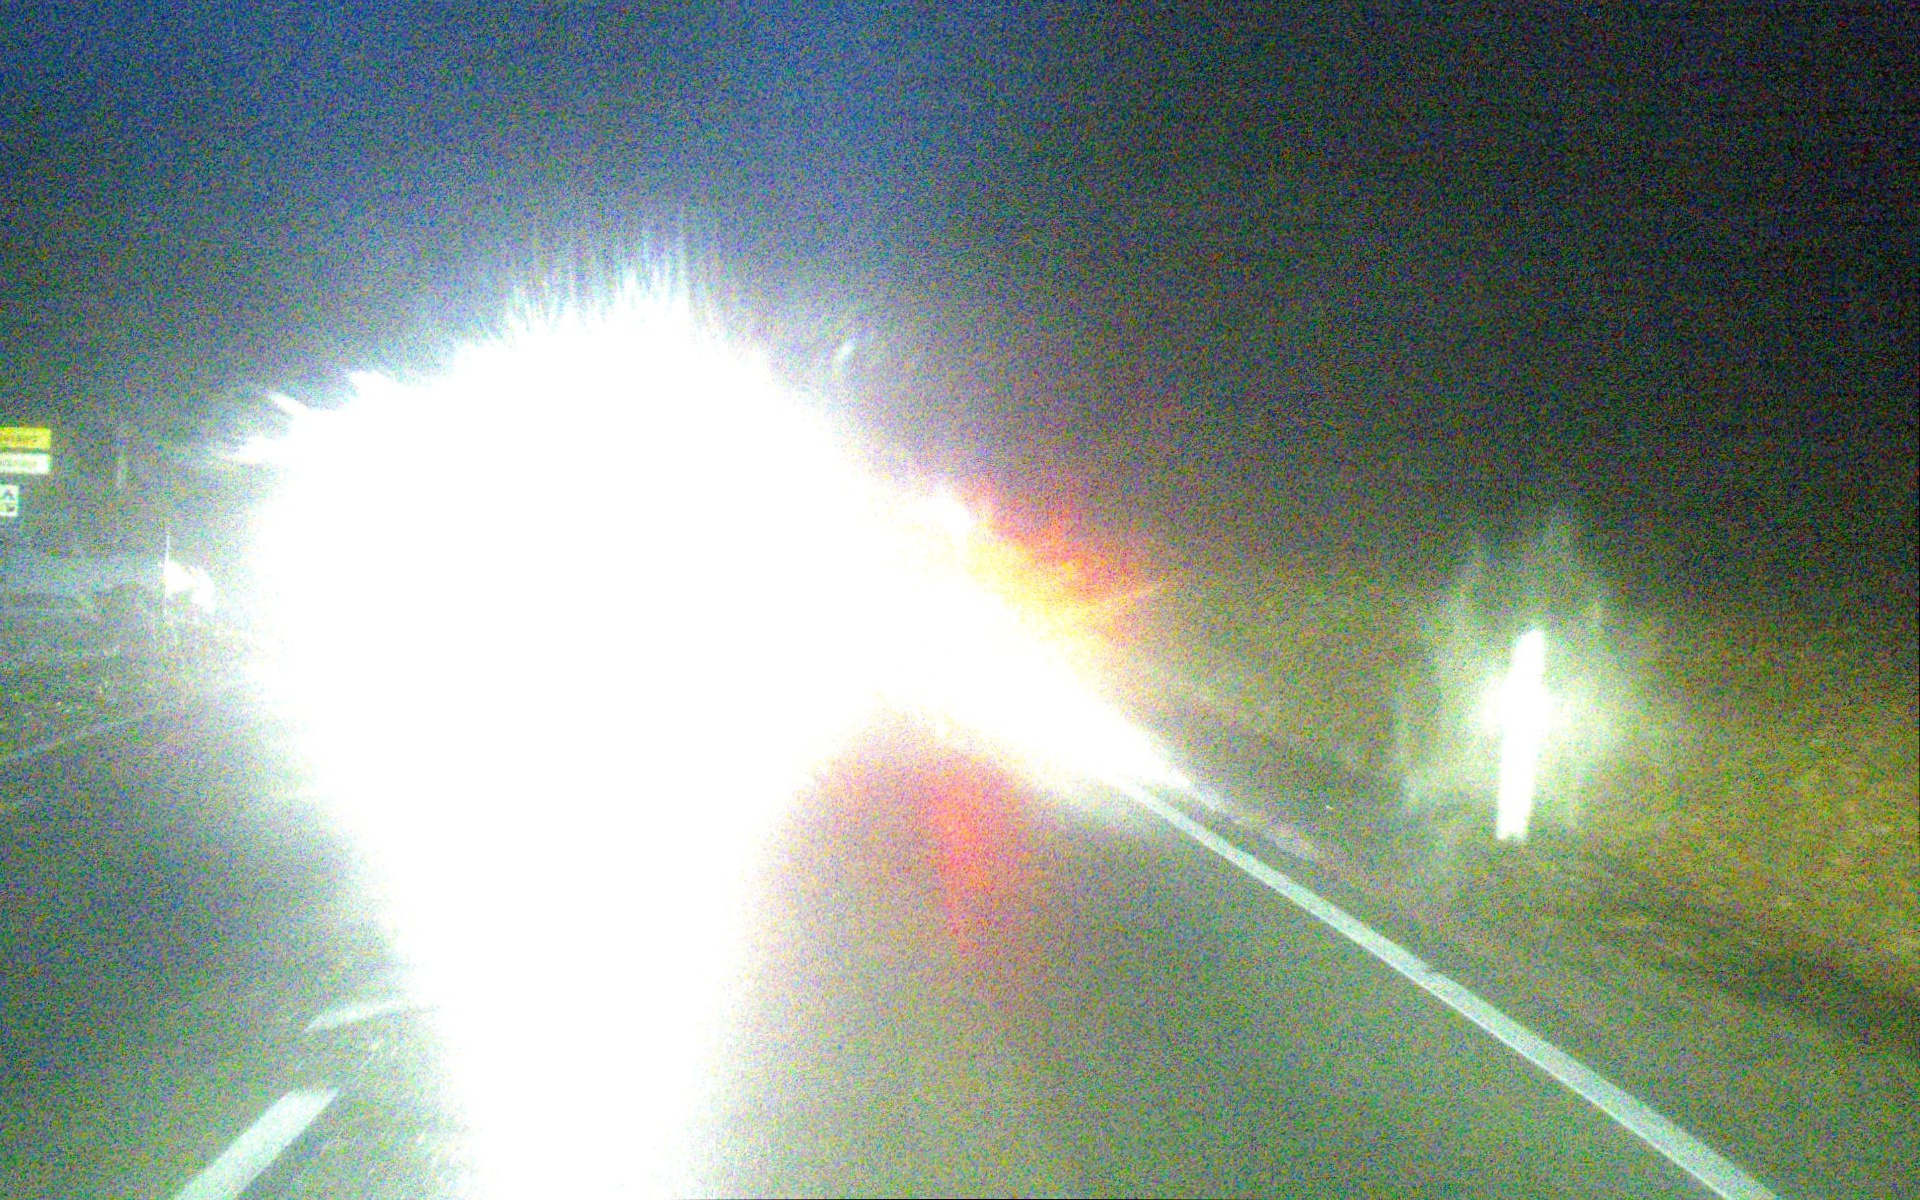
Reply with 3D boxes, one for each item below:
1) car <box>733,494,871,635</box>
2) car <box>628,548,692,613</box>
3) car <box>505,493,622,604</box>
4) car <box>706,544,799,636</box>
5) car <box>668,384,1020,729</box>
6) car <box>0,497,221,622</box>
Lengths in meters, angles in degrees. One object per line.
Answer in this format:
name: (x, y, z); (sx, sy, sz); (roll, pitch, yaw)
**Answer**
car: (-2.553, -0.523, 54.784); (1.993, 2.007, 4.000); (3, -2, -4)
car: (-9.379, -0.601, 107.423); (1.891, 1.904, 3.796); (3, 0, -5)
car: (-6.650, -0.898, 57.943); (1.753, 1.728, 4.001); (3, 2, -5)
car: (-4.227, -0.180, 70.374); (1.740, 1.708, 3.700); (3, -2, -2)
car: (-1.034, -0.383, 27.781); (2.538, 2.489, 5.715); (0, 1, -4)
car: (-13.073, -0.578, 48.638); (4.911, 1.729, 2.000); (0, 1, -6)
